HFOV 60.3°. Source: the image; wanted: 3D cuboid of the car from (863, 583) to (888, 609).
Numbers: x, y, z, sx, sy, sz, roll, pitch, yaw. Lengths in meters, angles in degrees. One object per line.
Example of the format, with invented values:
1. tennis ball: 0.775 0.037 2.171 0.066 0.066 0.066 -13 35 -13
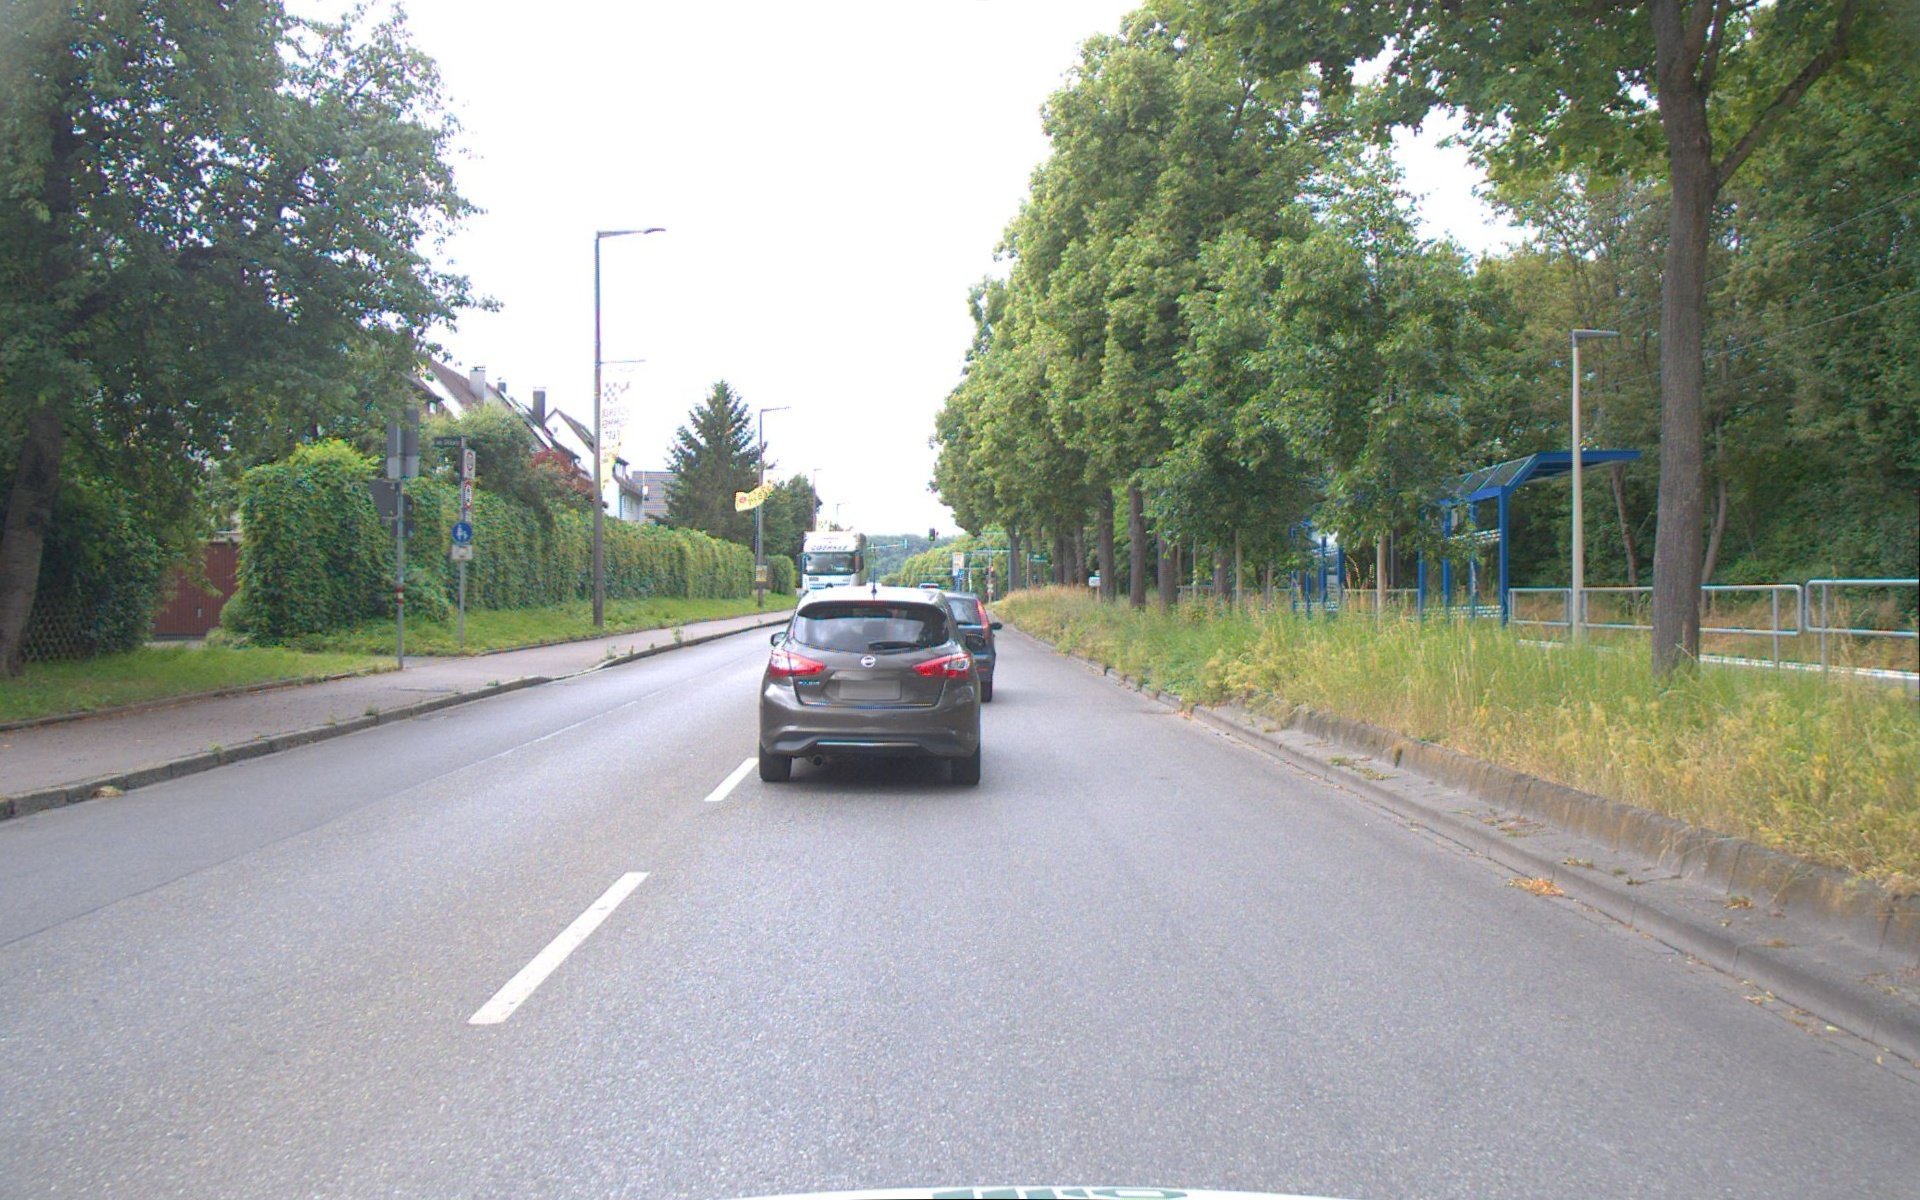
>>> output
1. car: -6.627 -0.305 129.016 1.869 1.966 4.908 -1 0 -3

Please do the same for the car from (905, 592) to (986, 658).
1. car: -0.346 0.536 37.664 1.755 1.421 3.999 0 0 -1

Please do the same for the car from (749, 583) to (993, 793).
1. car: -0.691 0.636 14.451 1.798 1.545 4.482 0 0 -1

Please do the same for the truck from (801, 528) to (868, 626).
1. truck: -5.706 -0.975 76.653 2.498 4.114 10.615 -2 0 -2

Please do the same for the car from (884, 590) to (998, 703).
1. car: -0.285 0.605 23.829 1.507 1.504 3.763 0 0 -1

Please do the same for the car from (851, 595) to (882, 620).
1. car: -5.529 0.413 98.285 1.698 1.399 4.238 -1 0 -2

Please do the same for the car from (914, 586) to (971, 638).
1. car: -0.561 0.345 52.390 1.755 1.565 3.999 0 0 -1
